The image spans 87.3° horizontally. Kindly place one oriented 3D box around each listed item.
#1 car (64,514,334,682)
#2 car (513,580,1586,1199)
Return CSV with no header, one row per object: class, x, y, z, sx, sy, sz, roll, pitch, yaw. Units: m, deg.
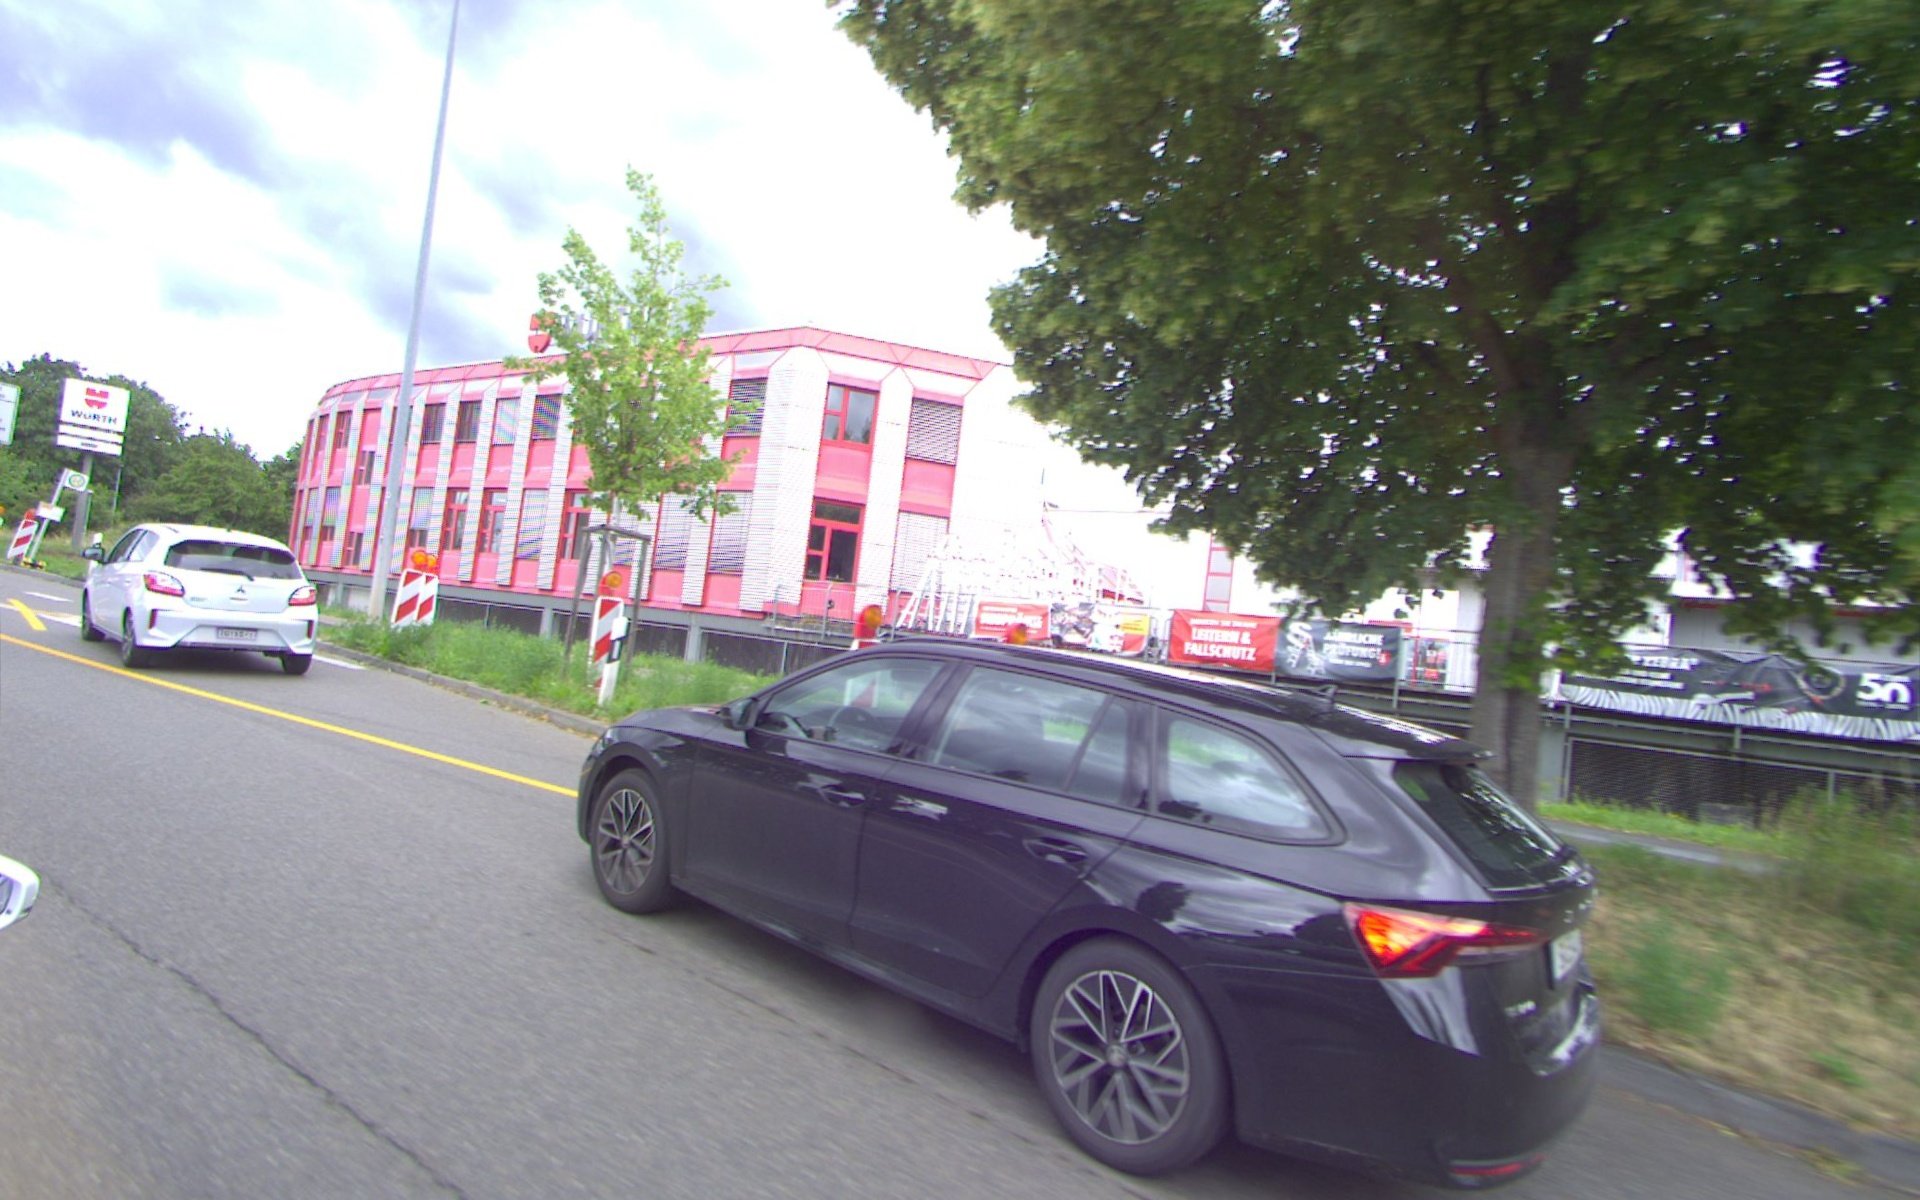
car,-8.734,-0.069,11.445,3.637,1.474,1.622,6,-2,41
car,0.071,0.901,4.371,4.215,1.450,1.835,7,-1,38
